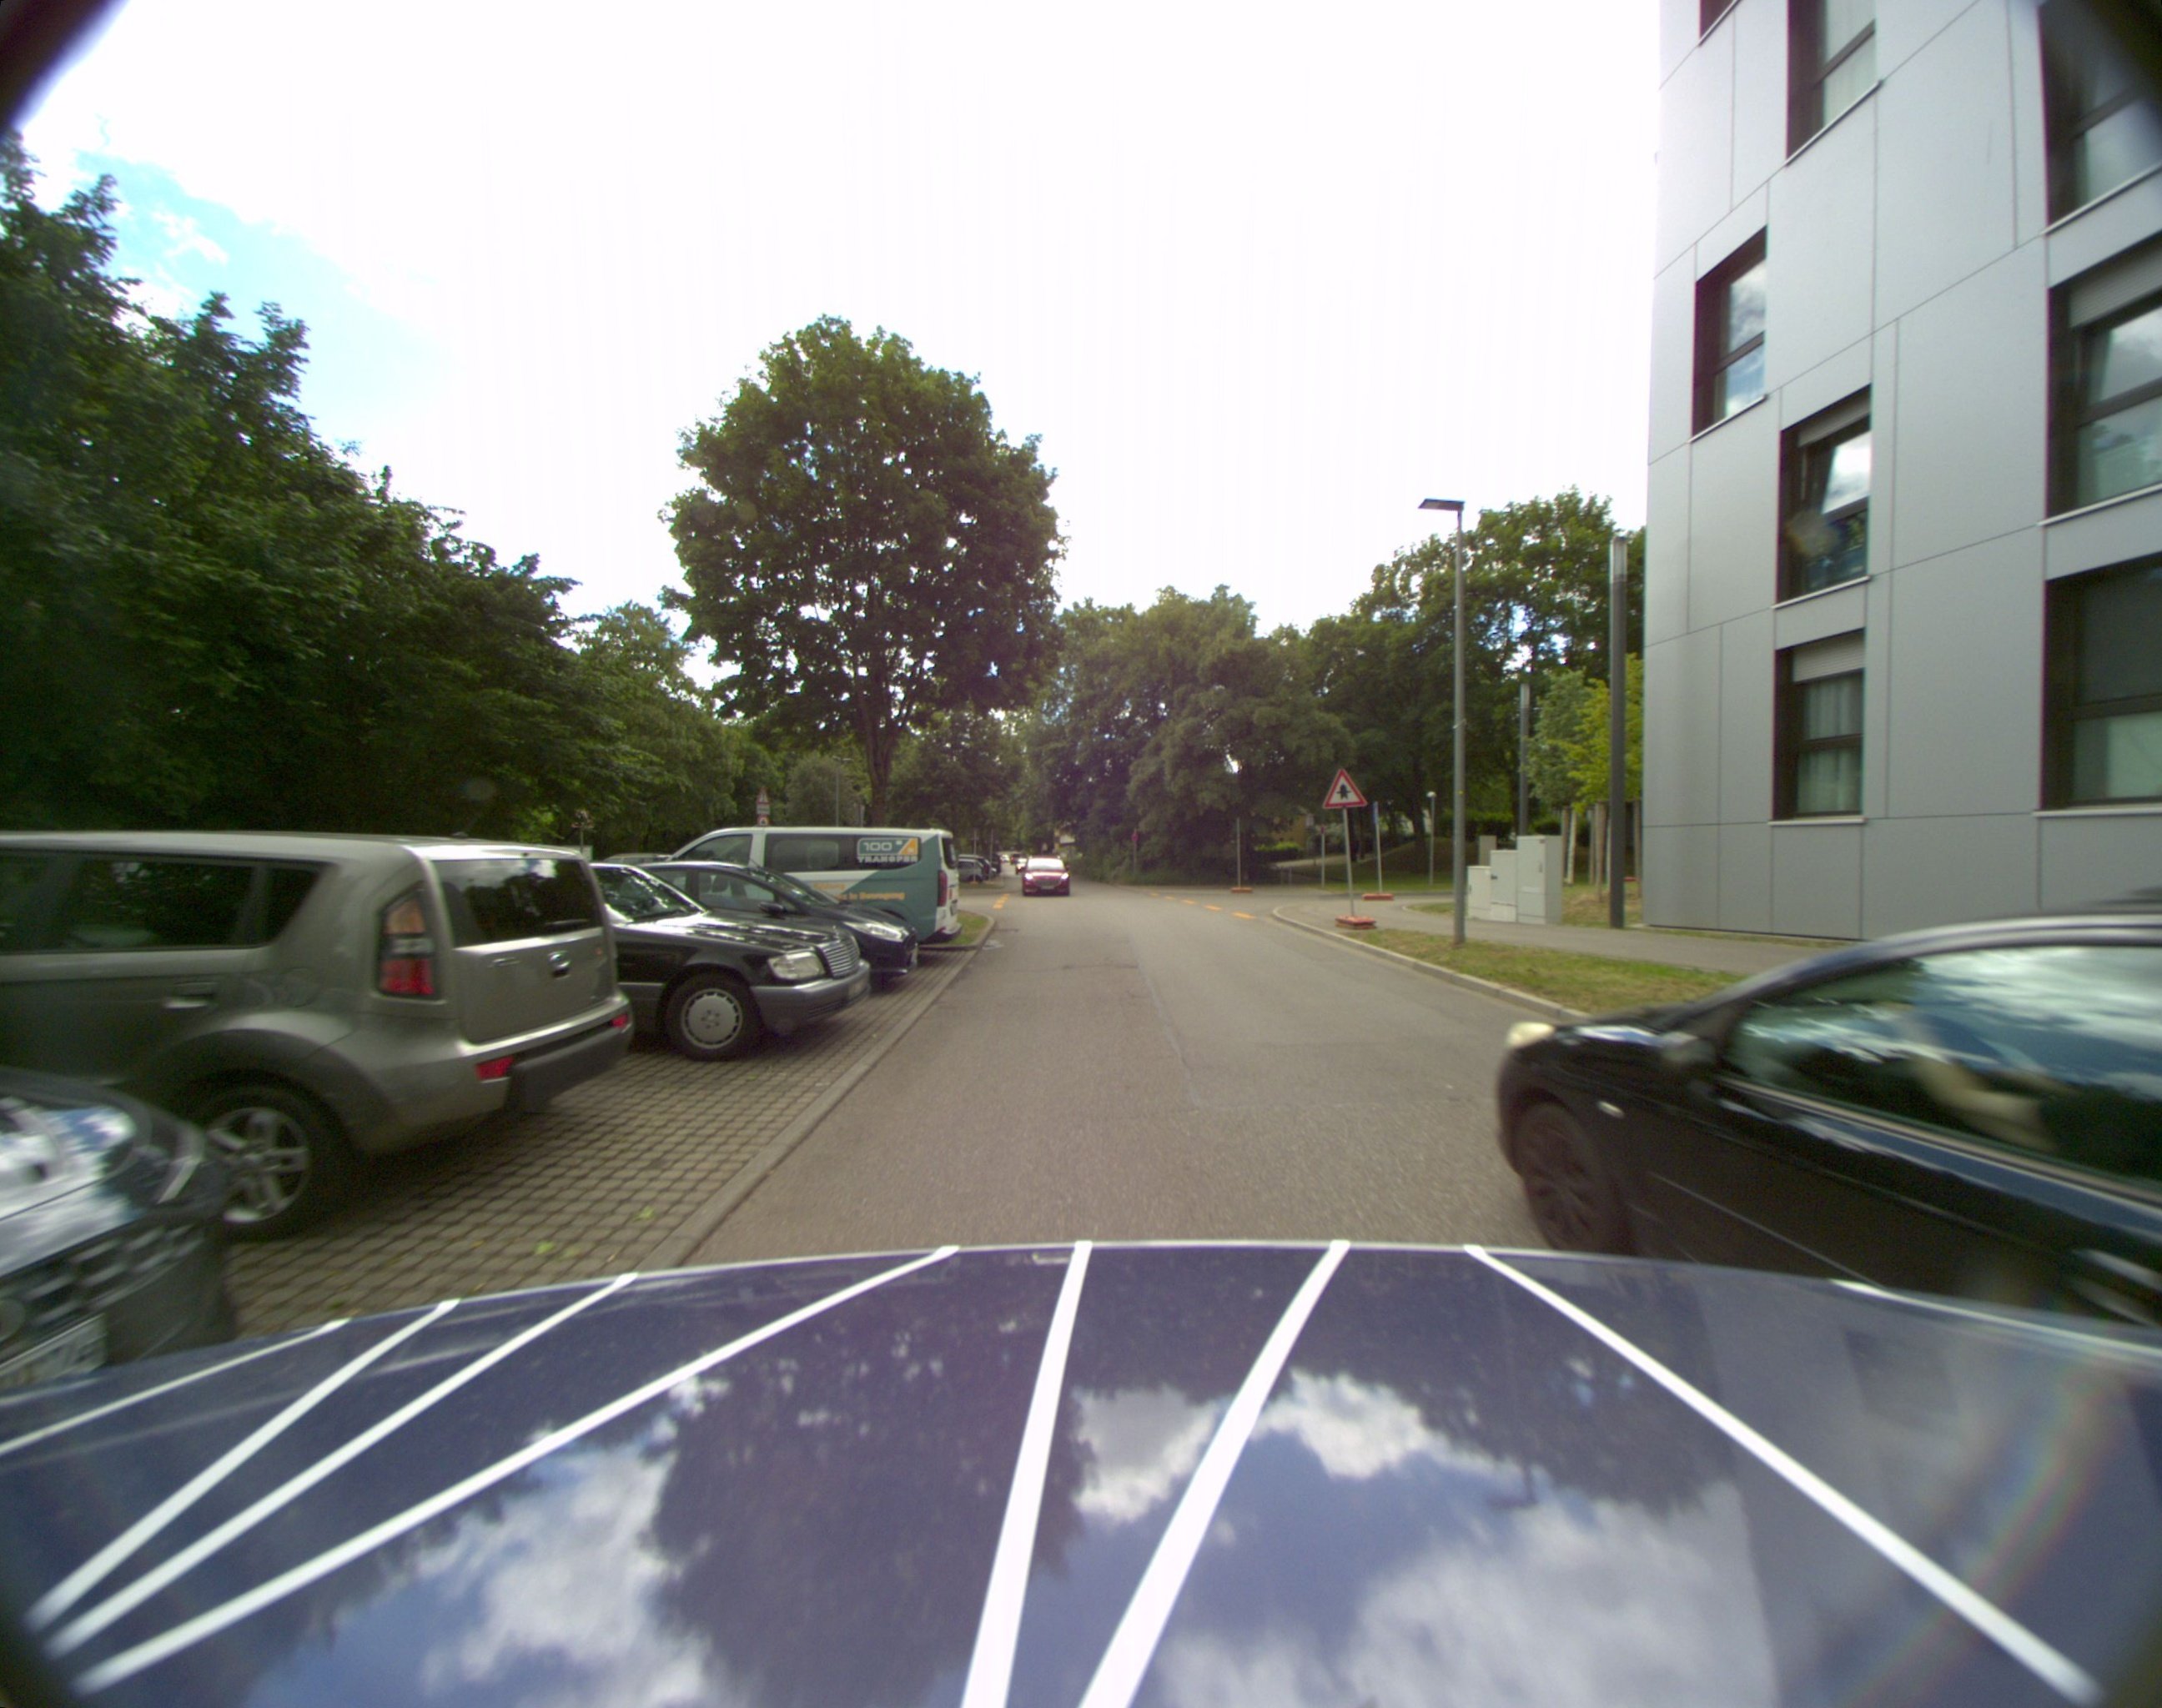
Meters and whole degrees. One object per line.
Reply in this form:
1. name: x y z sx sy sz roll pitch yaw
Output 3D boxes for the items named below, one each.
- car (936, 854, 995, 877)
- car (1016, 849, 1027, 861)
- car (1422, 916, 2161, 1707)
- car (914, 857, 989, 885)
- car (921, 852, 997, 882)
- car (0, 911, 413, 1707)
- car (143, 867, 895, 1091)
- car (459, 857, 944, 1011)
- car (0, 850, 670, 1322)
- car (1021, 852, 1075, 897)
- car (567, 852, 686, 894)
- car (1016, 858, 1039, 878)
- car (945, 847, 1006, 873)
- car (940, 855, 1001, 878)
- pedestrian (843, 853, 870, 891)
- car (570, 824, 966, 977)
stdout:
1. car: -8.271 0.798 54.648 3.999 1.519 1.810 1 1 -5
2. car: -12.299 0.217 156.230 2.138 2.461 6.274 -1 0 -4
3. car: 2.410 0.996 1.551 1.613 1.380 4.000 -1 0 0
4. car: -7.006 0.922 41.541 3.843 1.395 1.851 1 1 -4
5. car: -7.046 0.742 44.120 4.135 1.640 1.979 1 1 -2
6. car: -4.380 0.882 1.135 4.739 1.490 2.111 2 0 -4
7. car: -4.199 0.897 6.363 4.735 1.425 2.057 1 0 0
8. car: -4.151 0.854 8.916 4.716 1.507 1.846 1 0 -1
9. car: -4.529 0.820 3.616 4.076 1.599 1.892 1 0 -1
10. car: -1.481 0.790 32.024 1.919 1.707 5.035 -1 0 -6
11. car: -18.414 0.741 30.869 3.788 1.658 1.768 0 0 1
12. car: -5.151 1.301 72.597 1.919 1.707 5.035 -1 0 -6
13. car: -8.907 0.504 64.444 4.969 2.002 2.165 2 0 -5
14. car: -7.533 0.867 51.998 3.999 1.422 1.934 1 1 -6
15. pedestrian: -9.156 0.728 31.053 0.836 1.567 0.809 0 1 0
16. car: -4.289 0.650 11.124 4.987 1.960 1.846 2 0 -5
